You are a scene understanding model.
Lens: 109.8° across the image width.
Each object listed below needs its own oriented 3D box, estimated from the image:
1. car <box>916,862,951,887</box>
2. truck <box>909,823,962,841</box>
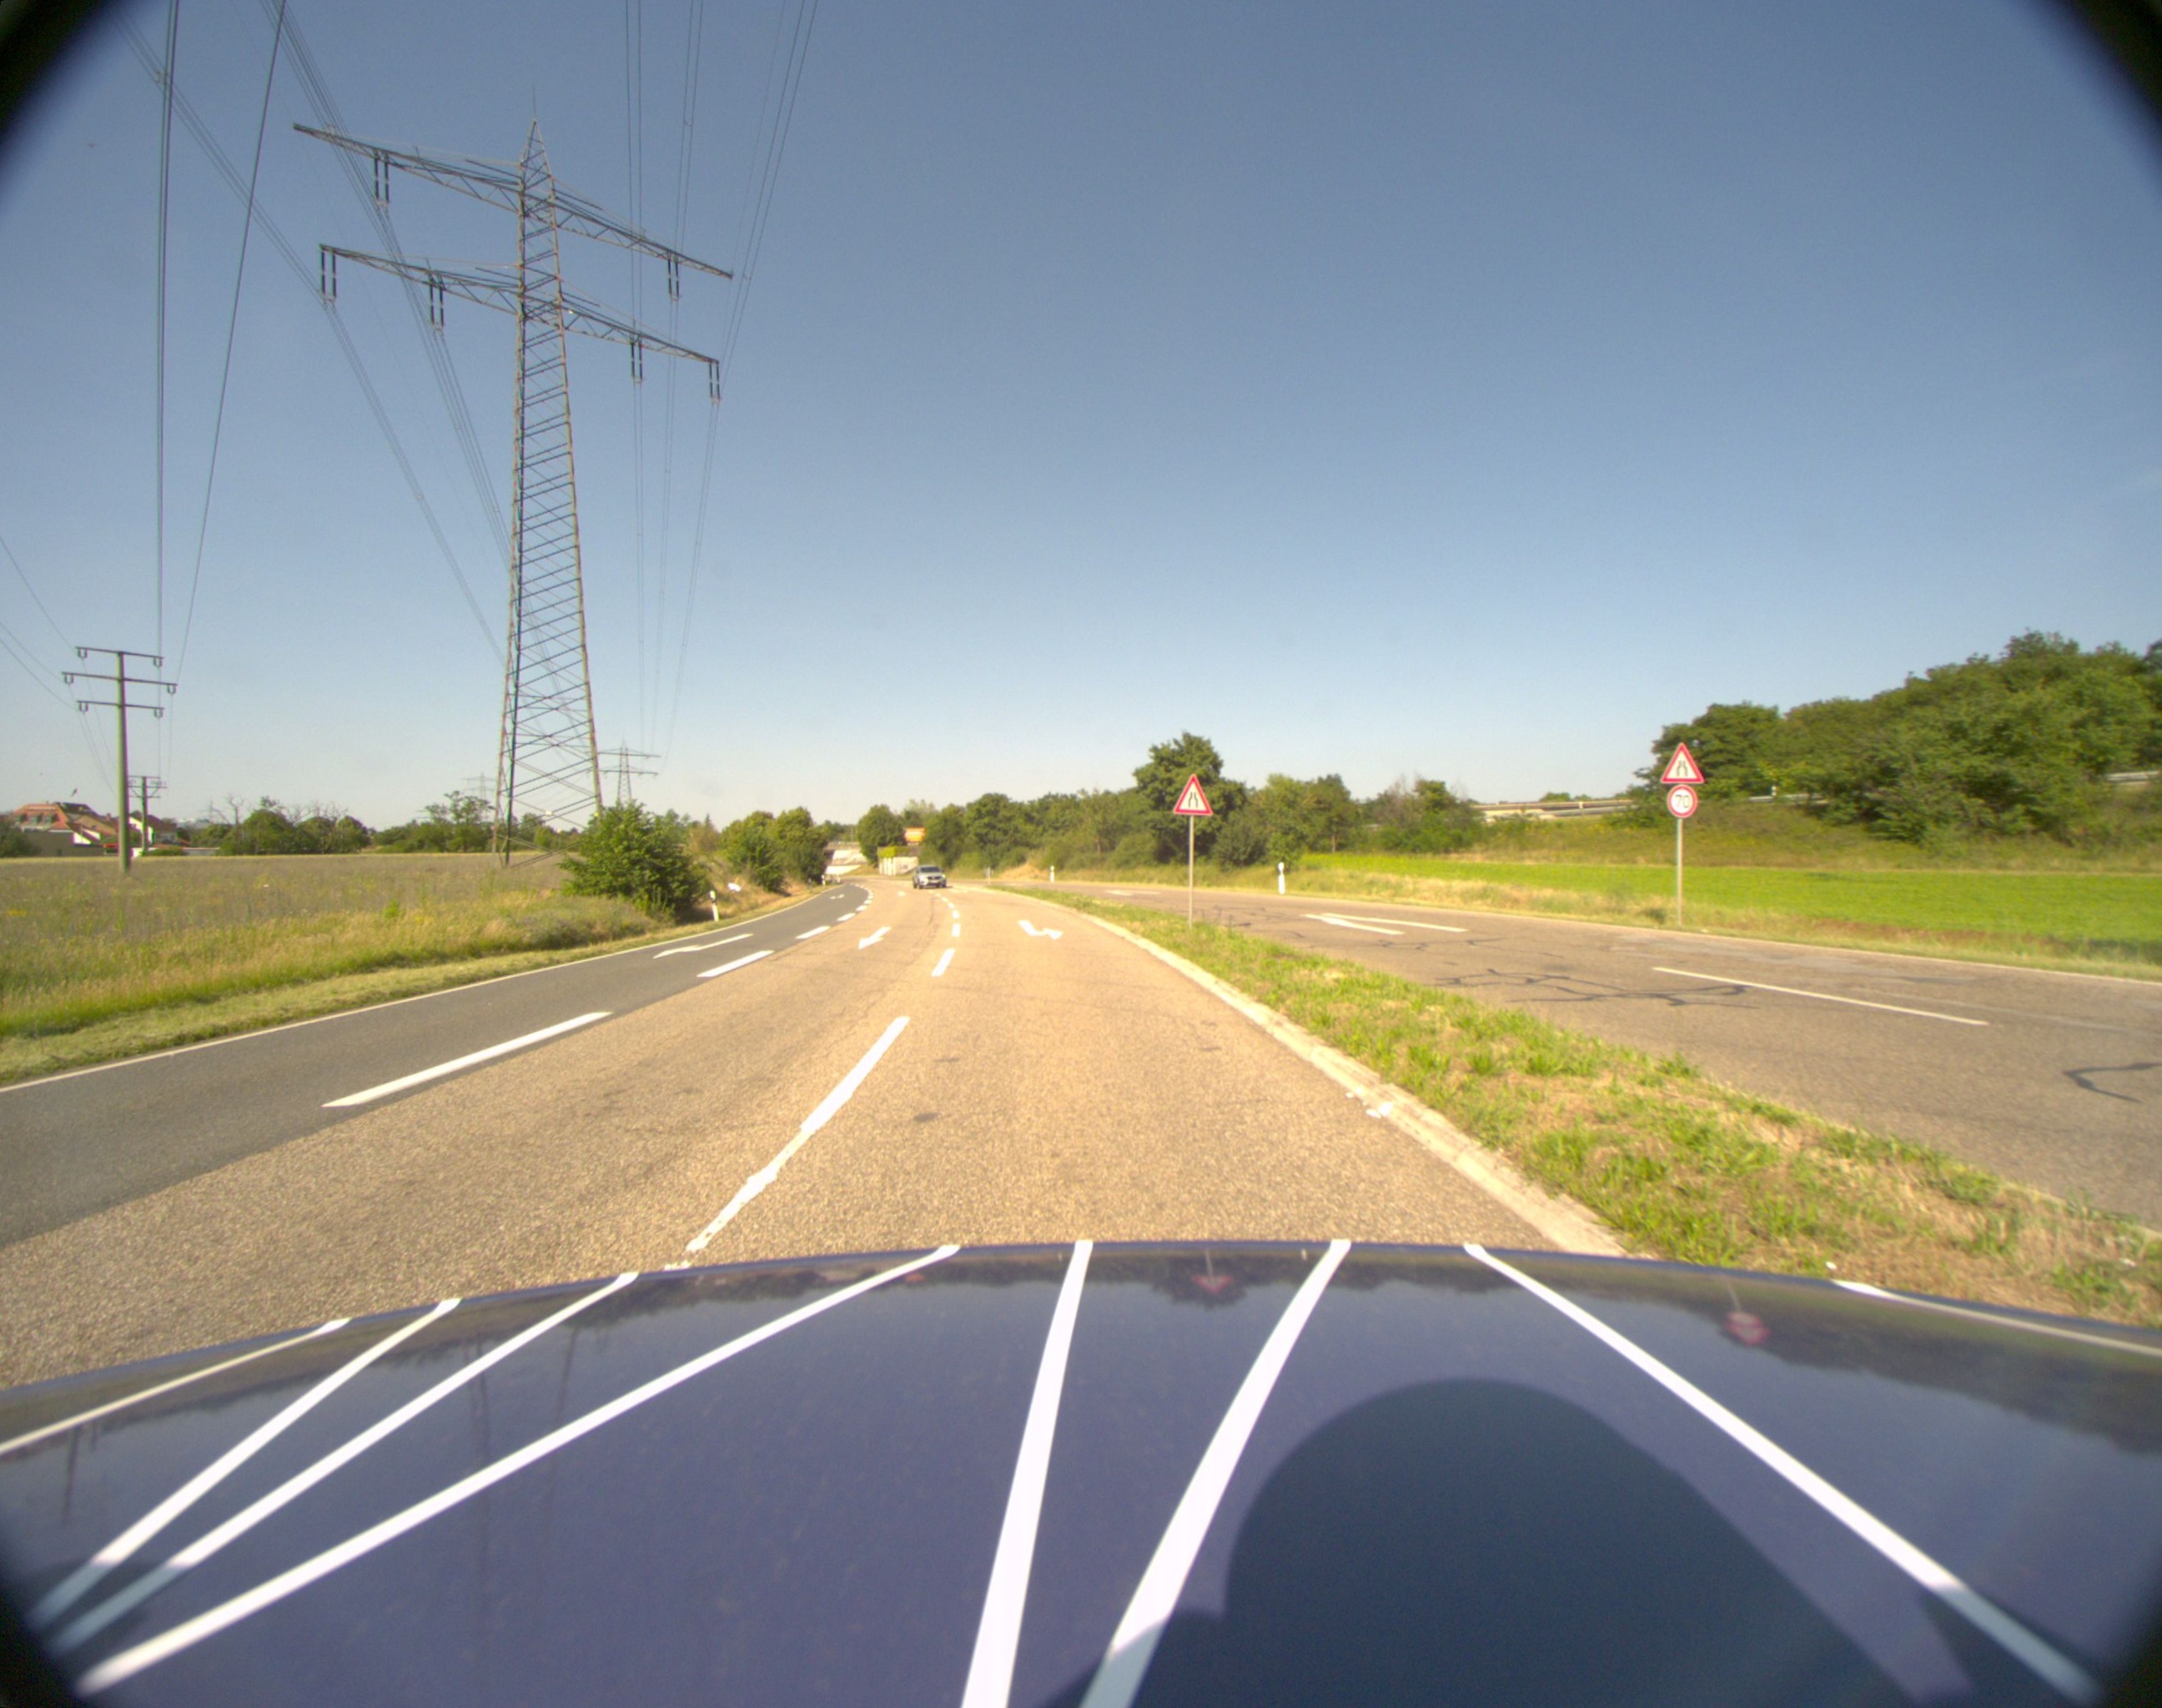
[{"bbox_3d":[-10.393,1.442,53.418,1.862,1.609,3.642,-2,0,-19],"label":"car"},{"bbox_3d":[-30.353,-4.638,158.345,11.260,3.165,2.165,-2,1,19],"label":"truck"}]
